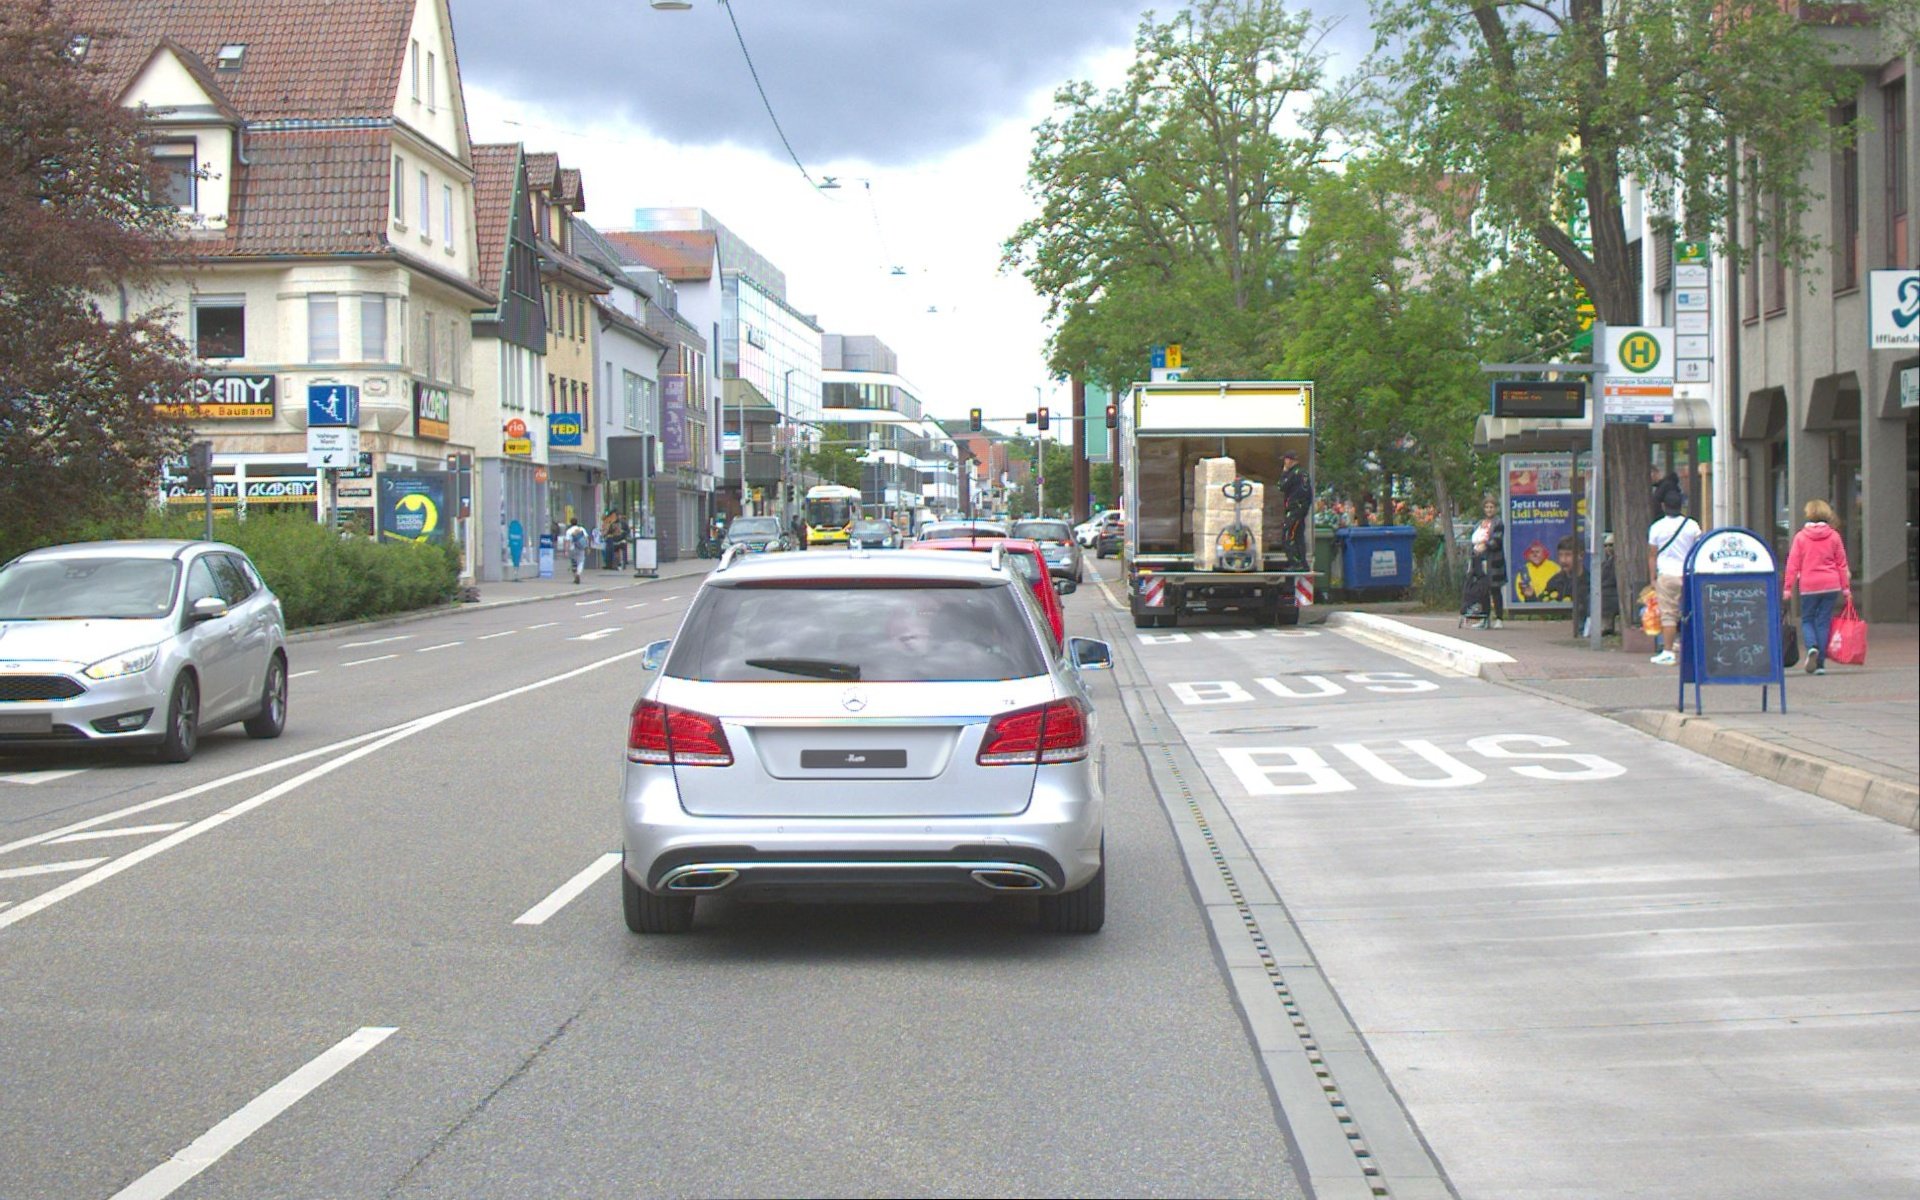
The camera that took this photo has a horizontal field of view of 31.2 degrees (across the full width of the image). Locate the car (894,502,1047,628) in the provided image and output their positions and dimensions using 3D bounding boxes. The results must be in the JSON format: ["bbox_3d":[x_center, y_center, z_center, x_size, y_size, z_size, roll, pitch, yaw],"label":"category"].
[{"bbox_3d":[0.187,-0.520,48.065,1.993,1.678,4.000,0,1,2],"label":"car"}]

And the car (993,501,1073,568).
[{"bbox_3d":[1.906,-1.697,88.674,1.993,1.678,4.000,0,1,2],"label":"car"}]

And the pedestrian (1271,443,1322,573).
[{"bbox_3d":[4.649,-1.266,47.524,0.613,1.774,0.588,-1,0,-2],"label":"pedestrian"}]

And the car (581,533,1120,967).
[{"bbox_3d":[-0.387,0.483,13.957,1.874,1.501,4.000,0,1,0],"label":"car"}]

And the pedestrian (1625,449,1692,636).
[{"bbox_3d":[7.779,-0.637,38.277,0.613,2.040,0.587,-2,0,15],"label":"pedestrian"}]

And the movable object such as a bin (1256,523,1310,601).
[{"bbox_3d":[5.600,-0.664,59.638,0.881,1.335,1.085,-1,1,4],"label":"movable object such as a bin"}]

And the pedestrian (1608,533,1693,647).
[{"bbox_3d":[7.159,-0.104,35.664,0.711,1.162,0.588,0,2,-5],"label":"pedestrian"}]

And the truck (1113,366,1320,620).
[{"bbox_3d":[3.818,-1.633,53.180,2.688,3.549,9.767,0,2,1],"label":"truck"}]

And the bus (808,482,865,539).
[{"bbox_3d":[-6.948,-5.061,194.546,2.775,3.154,5.933,0,1,2],"label":"bus"}]

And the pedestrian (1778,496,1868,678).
[{"bbox_3d":[7.583,-0.124,30.202,0.673,1.562,0.491,2,3,22],"label":"pedestrian"}]

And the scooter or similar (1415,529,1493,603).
[{"bbox_3d":[8.069,-0.562,56.157,1.175,1.192,0.460,-1,1,-7],"label":"scooter or similar"}]

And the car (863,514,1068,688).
[{"bbox_3d":[0.106,0.028,32.307,1.754,1.516,3.999,-1,-1,2],"label":"car"}]

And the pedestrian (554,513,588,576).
[{"bbox_3d":[-10.186,-1.461,90.047,0.816,1.629,0.980,1,1,-4],"label":"pedestrian"}]

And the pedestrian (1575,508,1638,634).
[{"bbox_3d":[7.381,-0.334,39.210,0.613,1.396,0.587,-2,0,15],"label":"pedestrian"}]

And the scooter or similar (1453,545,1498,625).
[{"bbox_3d":[6.218,-0.183,41.457,0.384,0.955,0.355,-2,2,-39],"label":"scooter or similar"}]

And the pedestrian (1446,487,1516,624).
[{"bbox_3d":[6.340,-0.541,41.839,0.534,1.629,0.588,2,2,-23],"label":"pedestrian"}]

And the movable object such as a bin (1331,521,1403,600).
[{"bbox_3d":[7.015,-0.687,59.377,1.143,1.335,1.376,-1,1,4],"label":"movable object such as a bin"}]

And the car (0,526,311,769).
[{"bbox_3d":[-5.936,0.278,23.827,1.874,1.501,4.343,-2,1,2],"label":"car"}]

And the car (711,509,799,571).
[{"bbox_3d":[-6.158,-1.836,103.782,2.069,1.732,4.693,-2,1,3],"label":"car"}]

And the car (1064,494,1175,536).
[{"bbox_3d":[7.945,-4.242,171.648,5.121,1.954,1.968,-2,1,-12],"label":"car"}]

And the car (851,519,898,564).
[{"bbox_3d":[-3.001,-2.083,121.077,1.570,1.535,2.961,1,1,-1],"label":"car"}]

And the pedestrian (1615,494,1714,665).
[{"bbox_3d":[6.827,-0.213,33.335,0.613,1.629,0.794,-1,2,-20],"label":"pedestrian"}]
